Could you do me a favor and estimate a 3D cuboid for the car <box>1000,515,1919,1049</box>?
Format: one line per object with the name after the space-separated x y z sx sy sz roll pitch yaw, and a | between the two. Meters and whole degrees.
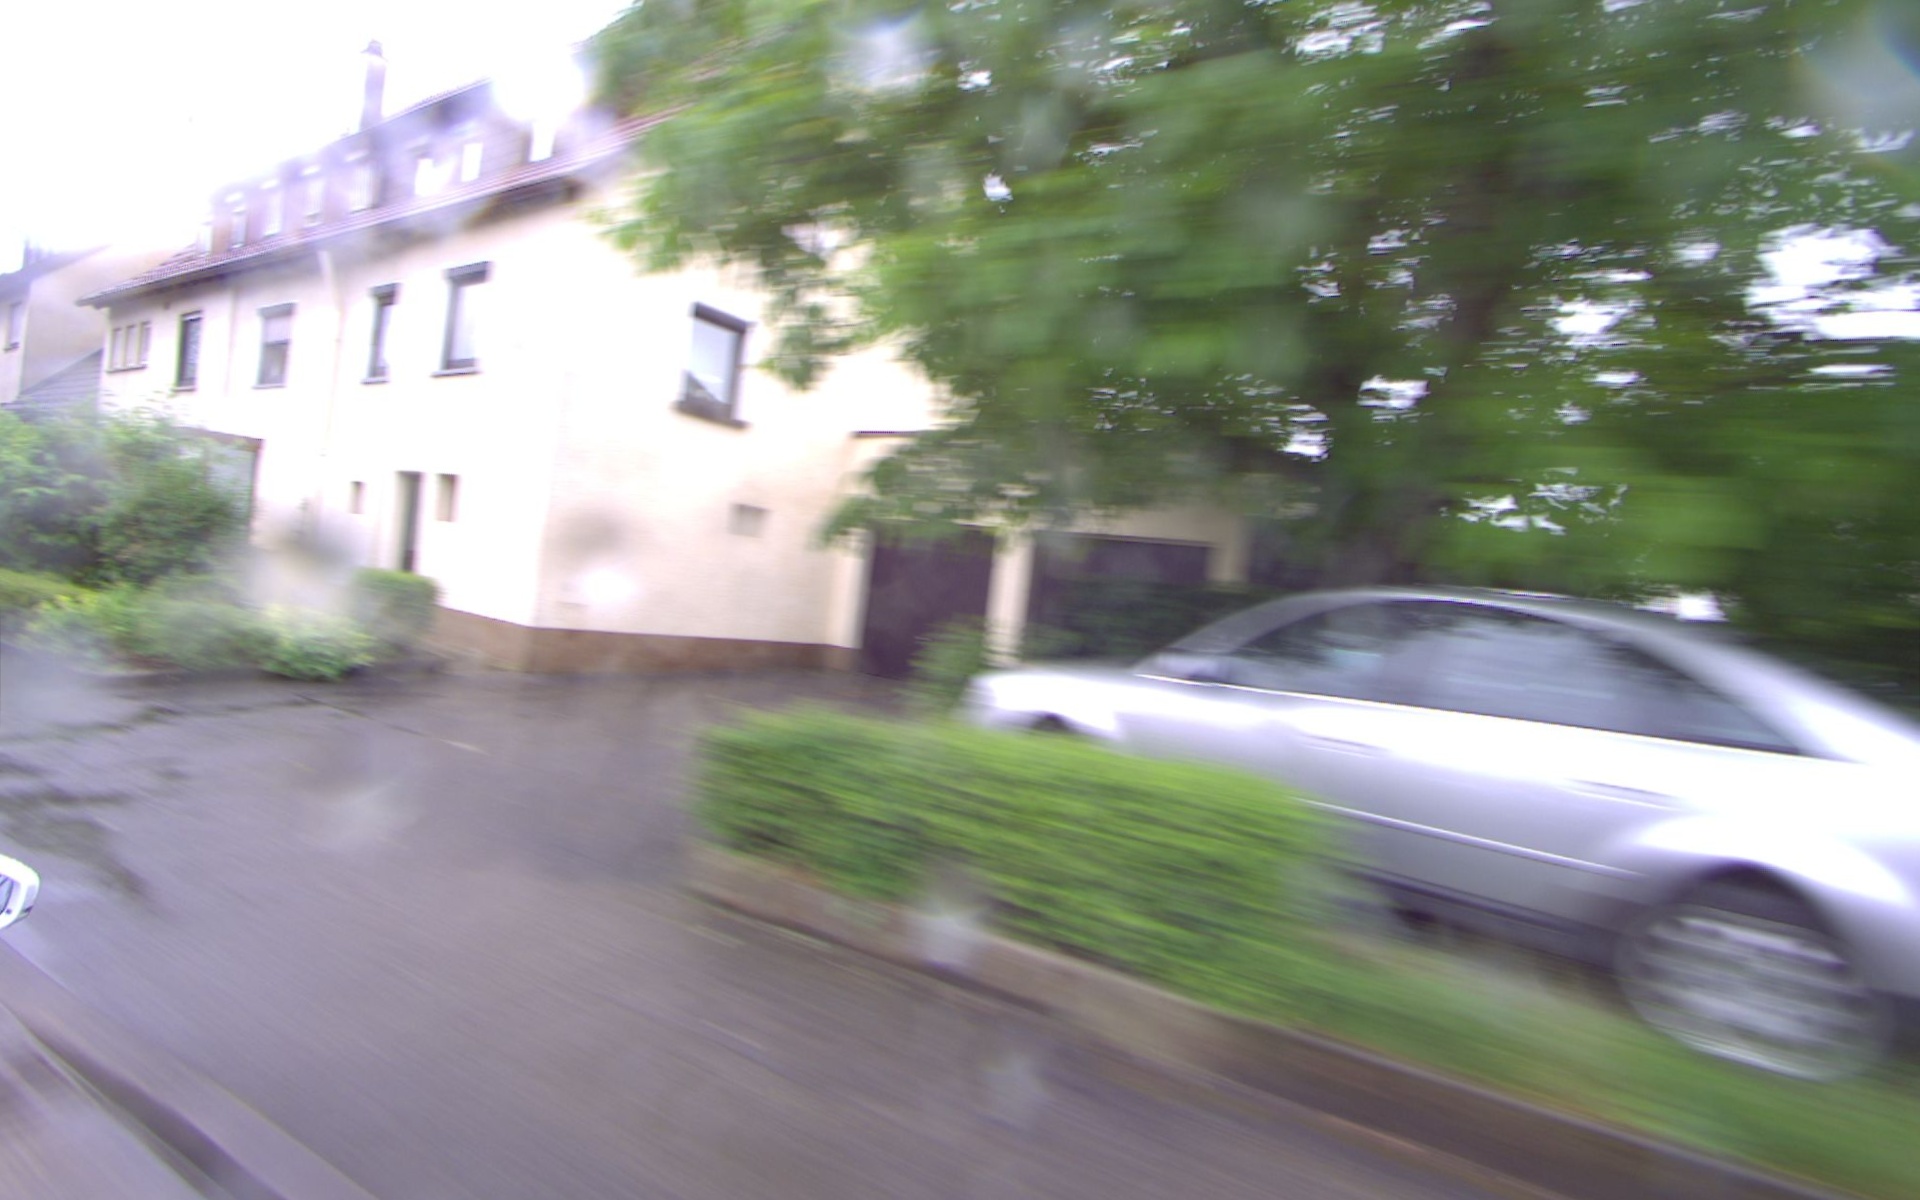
2.219 0.561 4.456 3.615 1.448 1.640 7 0 31 | car
